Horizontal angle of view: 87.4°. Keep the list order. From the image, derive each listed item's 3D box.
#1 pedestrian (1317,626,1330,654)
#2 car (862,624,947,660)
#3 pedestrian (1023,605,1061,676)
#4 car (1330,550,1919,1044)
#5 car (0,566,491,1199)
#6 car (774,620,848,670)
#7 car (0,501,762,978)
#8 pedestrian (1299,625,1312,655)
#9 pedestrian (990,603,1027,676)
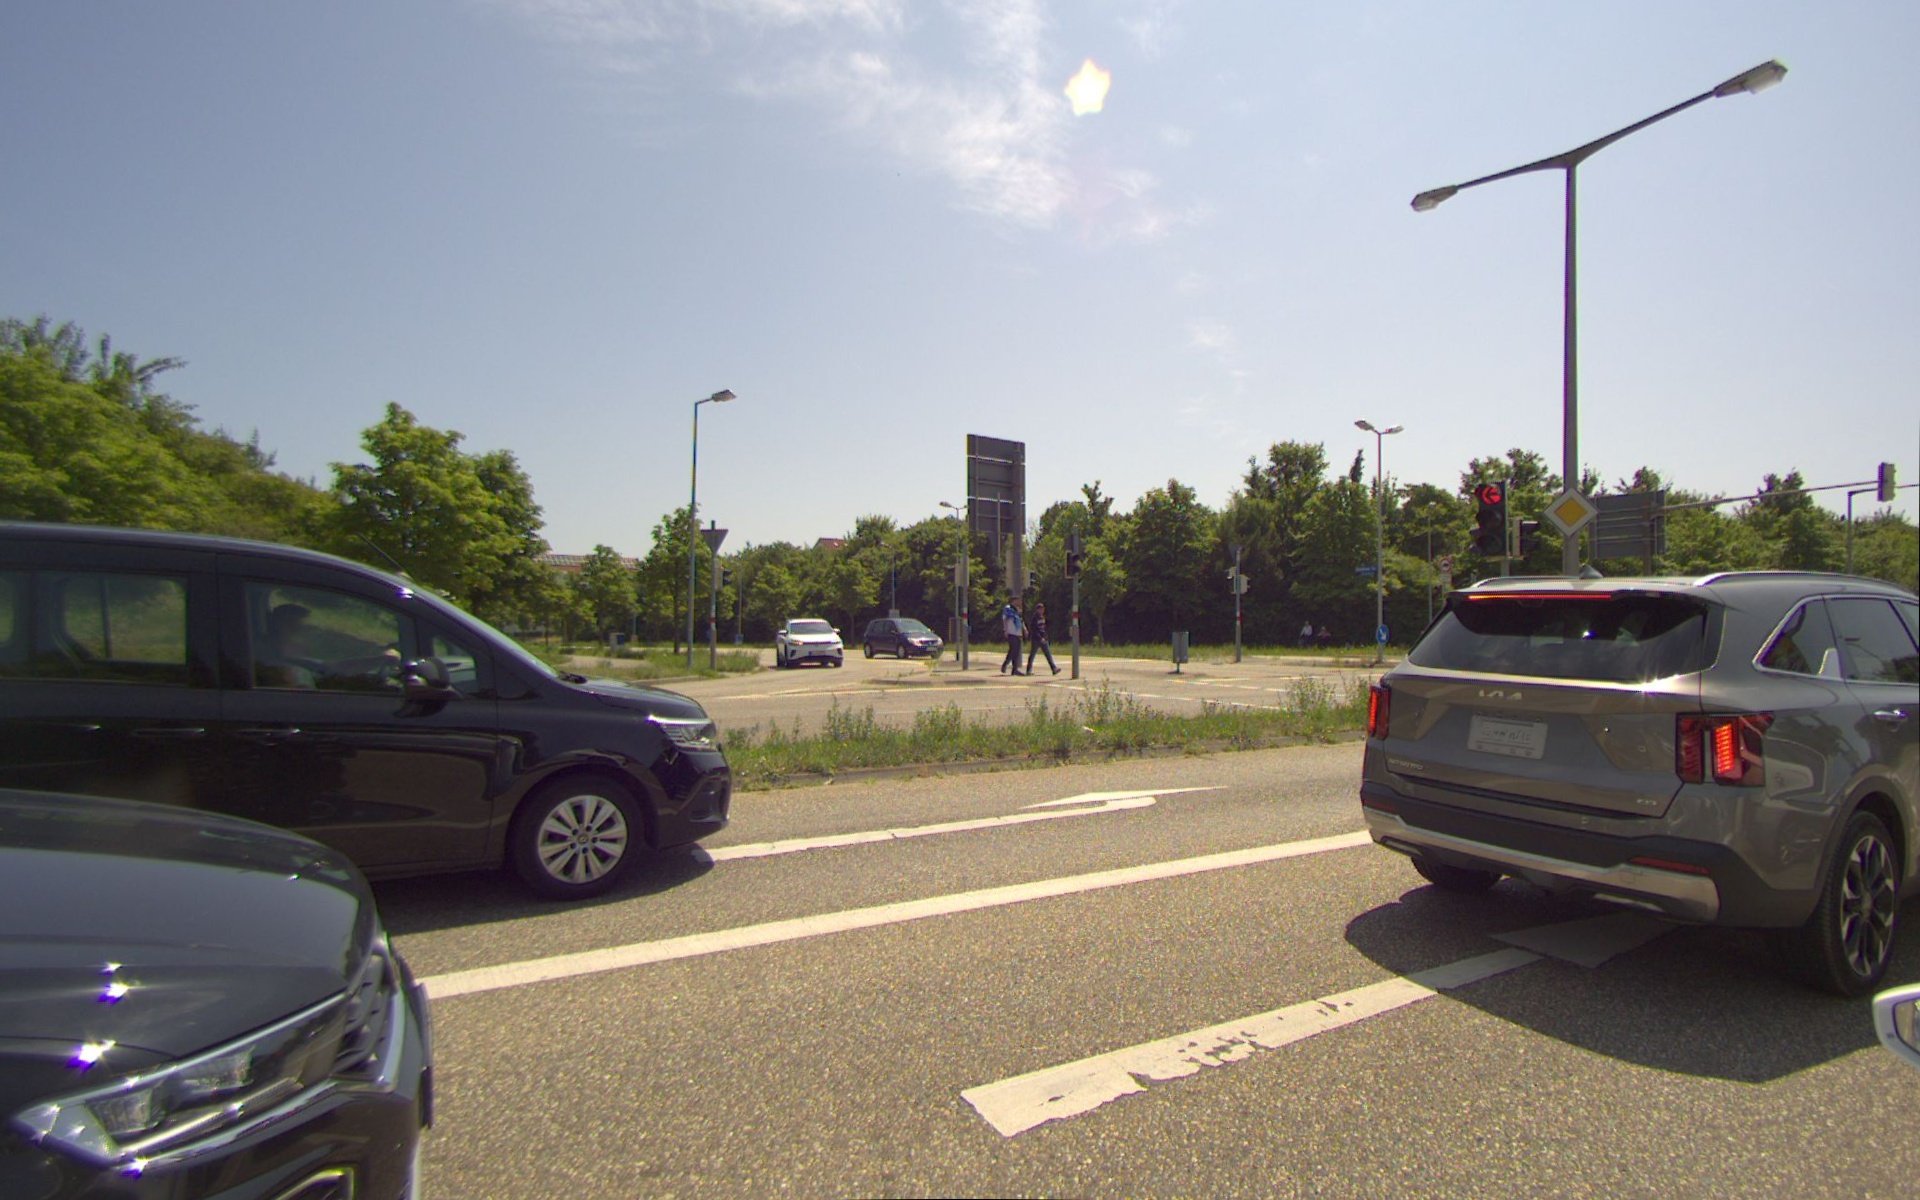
[{"bbox_3d":[20.120,2.229,55.566,0.606,1.523,0.798,0,-1,24],"label":"pedestrian"},{"bbox_3d":[-2.274,1.651,40.322,1.685,1.353,3.964,1,-2,-33],"label":"car"},{"bbox_3d":[2.018,0.990,24.829,0.761,1.722,0.723,0,-1,-11],"label":"pedestrian"},{"bbox_3d":[4.257,0.734,5.387,4.590,1.684,1.795,1,-2,-30],"label":"car"},{"bbox_3d":[-2.802,0.676,1.185,3.924,1.532,1.726,2,0,-30],"label":"car"},{"bbox_3d":[-5.139,1.483,34.119,1.849,1.522,4.294,-2,-1,-17],"label":"car"},{"bbox_3d":[-3.354,0.569,5.160,4.274,1.850,1.722,1,-1,-32],"label":"car"},{"bbox_3d":[19.252,2.216,56.019,0.606,1.624,0.798,-1,-1,24],"label":"pedestrian"},{"bbox_3d":[1.184,0.970,24.530,0.779,1.759,0.582,0,-1,-11],"label":"pedestrian"}]
